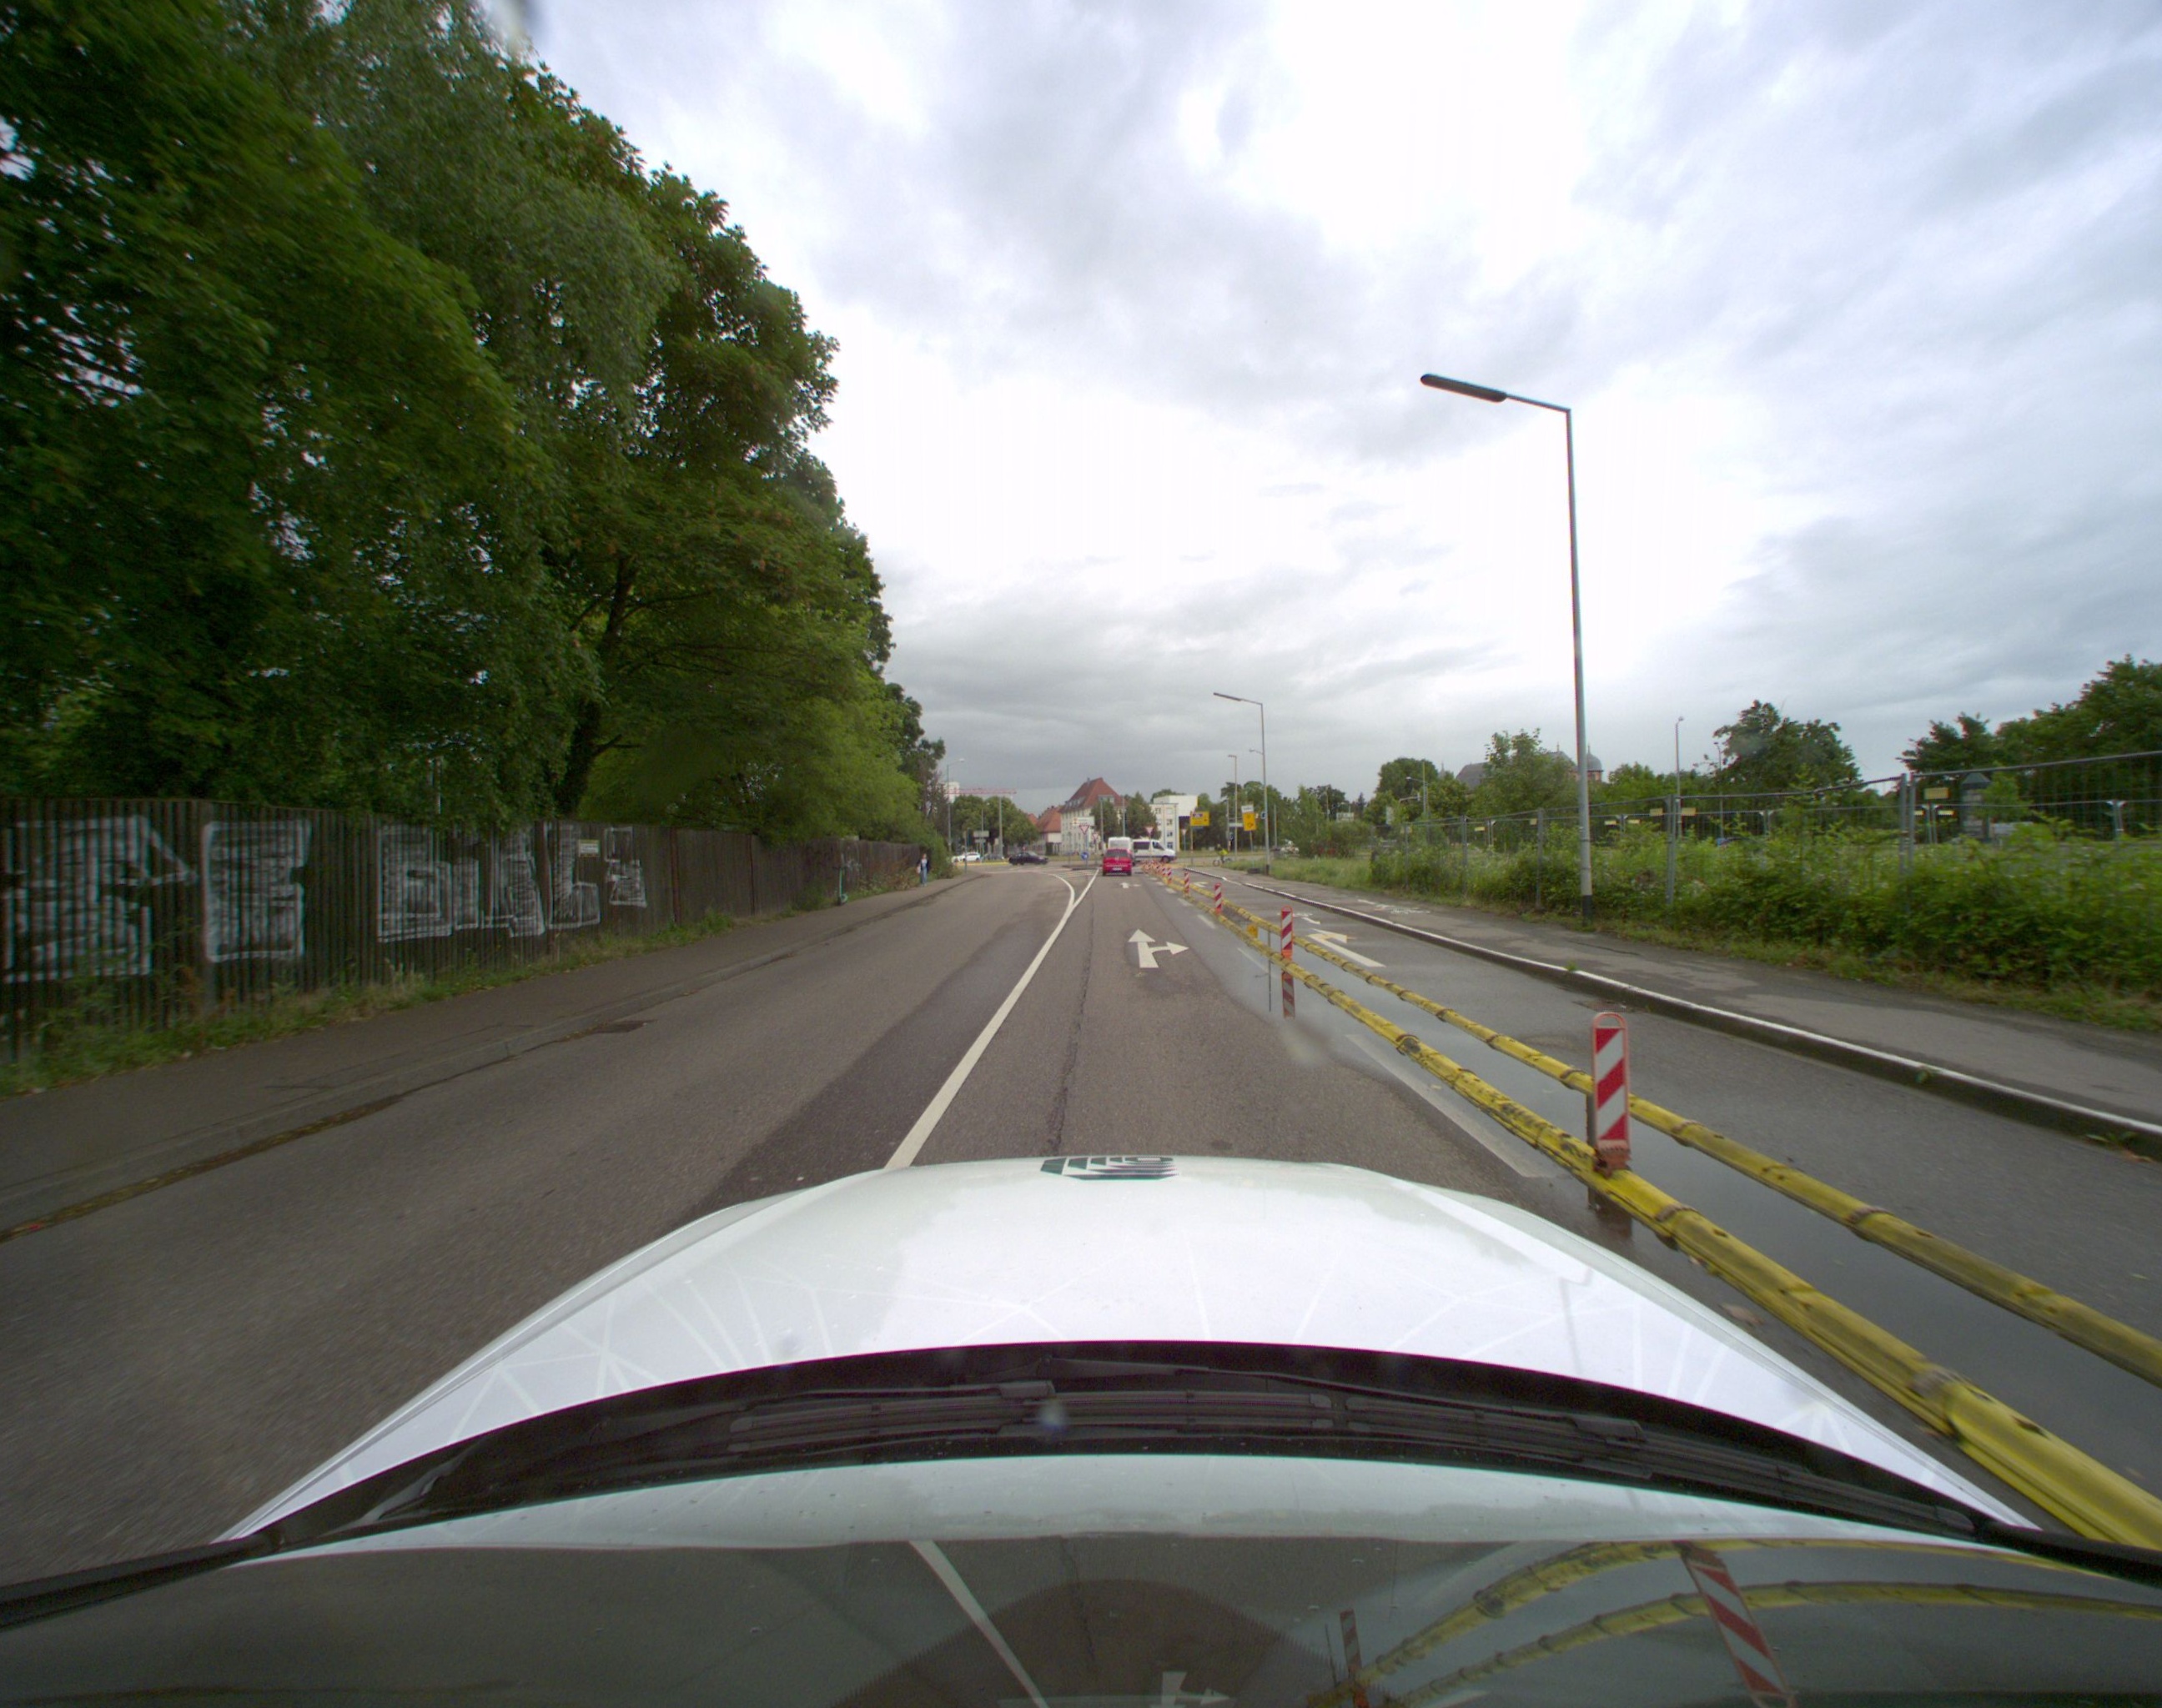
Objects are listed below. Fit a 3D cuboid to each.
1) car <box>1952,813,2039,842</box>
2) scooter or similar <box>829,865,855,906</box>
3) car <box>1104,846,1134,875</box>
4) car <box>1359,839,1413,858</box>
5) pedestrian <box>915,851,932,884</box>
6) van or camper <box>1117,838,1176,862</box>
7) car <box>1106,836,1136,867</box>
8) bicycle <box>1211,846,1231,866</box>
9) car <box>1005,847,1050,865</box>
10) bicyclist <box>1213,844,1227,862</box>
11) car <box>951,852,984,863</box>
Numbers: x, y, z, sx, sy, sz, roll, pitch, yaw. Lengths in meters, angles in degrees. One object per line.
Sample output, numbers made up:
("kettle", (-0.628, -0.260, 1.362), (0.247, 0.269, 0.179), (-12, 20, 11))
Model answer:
("car", (70.501, -2.040, 62.881), (2.011, 2.013, 4.424), (-2, 0, -42))
("scooter or similar", (-7.204, 0.922, 24.599), (0.422, 1.170, 1.302), (-2, 0, -3))
("car", (2.179, 0.358, 47.322), (1.667, 1.640, 3.629), (0, 0, 2))
("car", (30.864, -0.584, 82.473), (4.550, 1.795, 2.128), (-2, 0, 43))
("pedestrian", (-7.355, 0.621, 38.096), (0.610, 1.529, 0.723), (-2, 0, -2))
("van or camper", (6.310, -0.423, 78.599), (5.502, 2.115, 2.005), (-2, 0, 8))
("car", (3.522, -0.243, 70.770), (2.182, 2.540, 4.974), (0, 0, 8))
("bicycle", (11.352, 0.166, 66.049), (1.470, 1.612, 0.607), (-2, 0, 5))
("car", (-5.625, 0.196, 85.897), (4.331, 1.750, 2.007), (-2, 0, 12))
("bicyclist", (11.274, -0.099, 65.957), (1.056, 1.401, 0.616), (-2, 0, 5))
("car", (-17.227, 0.513, 123.250), (1.975, 1.635, 4.703), (-2, 0, 44))
